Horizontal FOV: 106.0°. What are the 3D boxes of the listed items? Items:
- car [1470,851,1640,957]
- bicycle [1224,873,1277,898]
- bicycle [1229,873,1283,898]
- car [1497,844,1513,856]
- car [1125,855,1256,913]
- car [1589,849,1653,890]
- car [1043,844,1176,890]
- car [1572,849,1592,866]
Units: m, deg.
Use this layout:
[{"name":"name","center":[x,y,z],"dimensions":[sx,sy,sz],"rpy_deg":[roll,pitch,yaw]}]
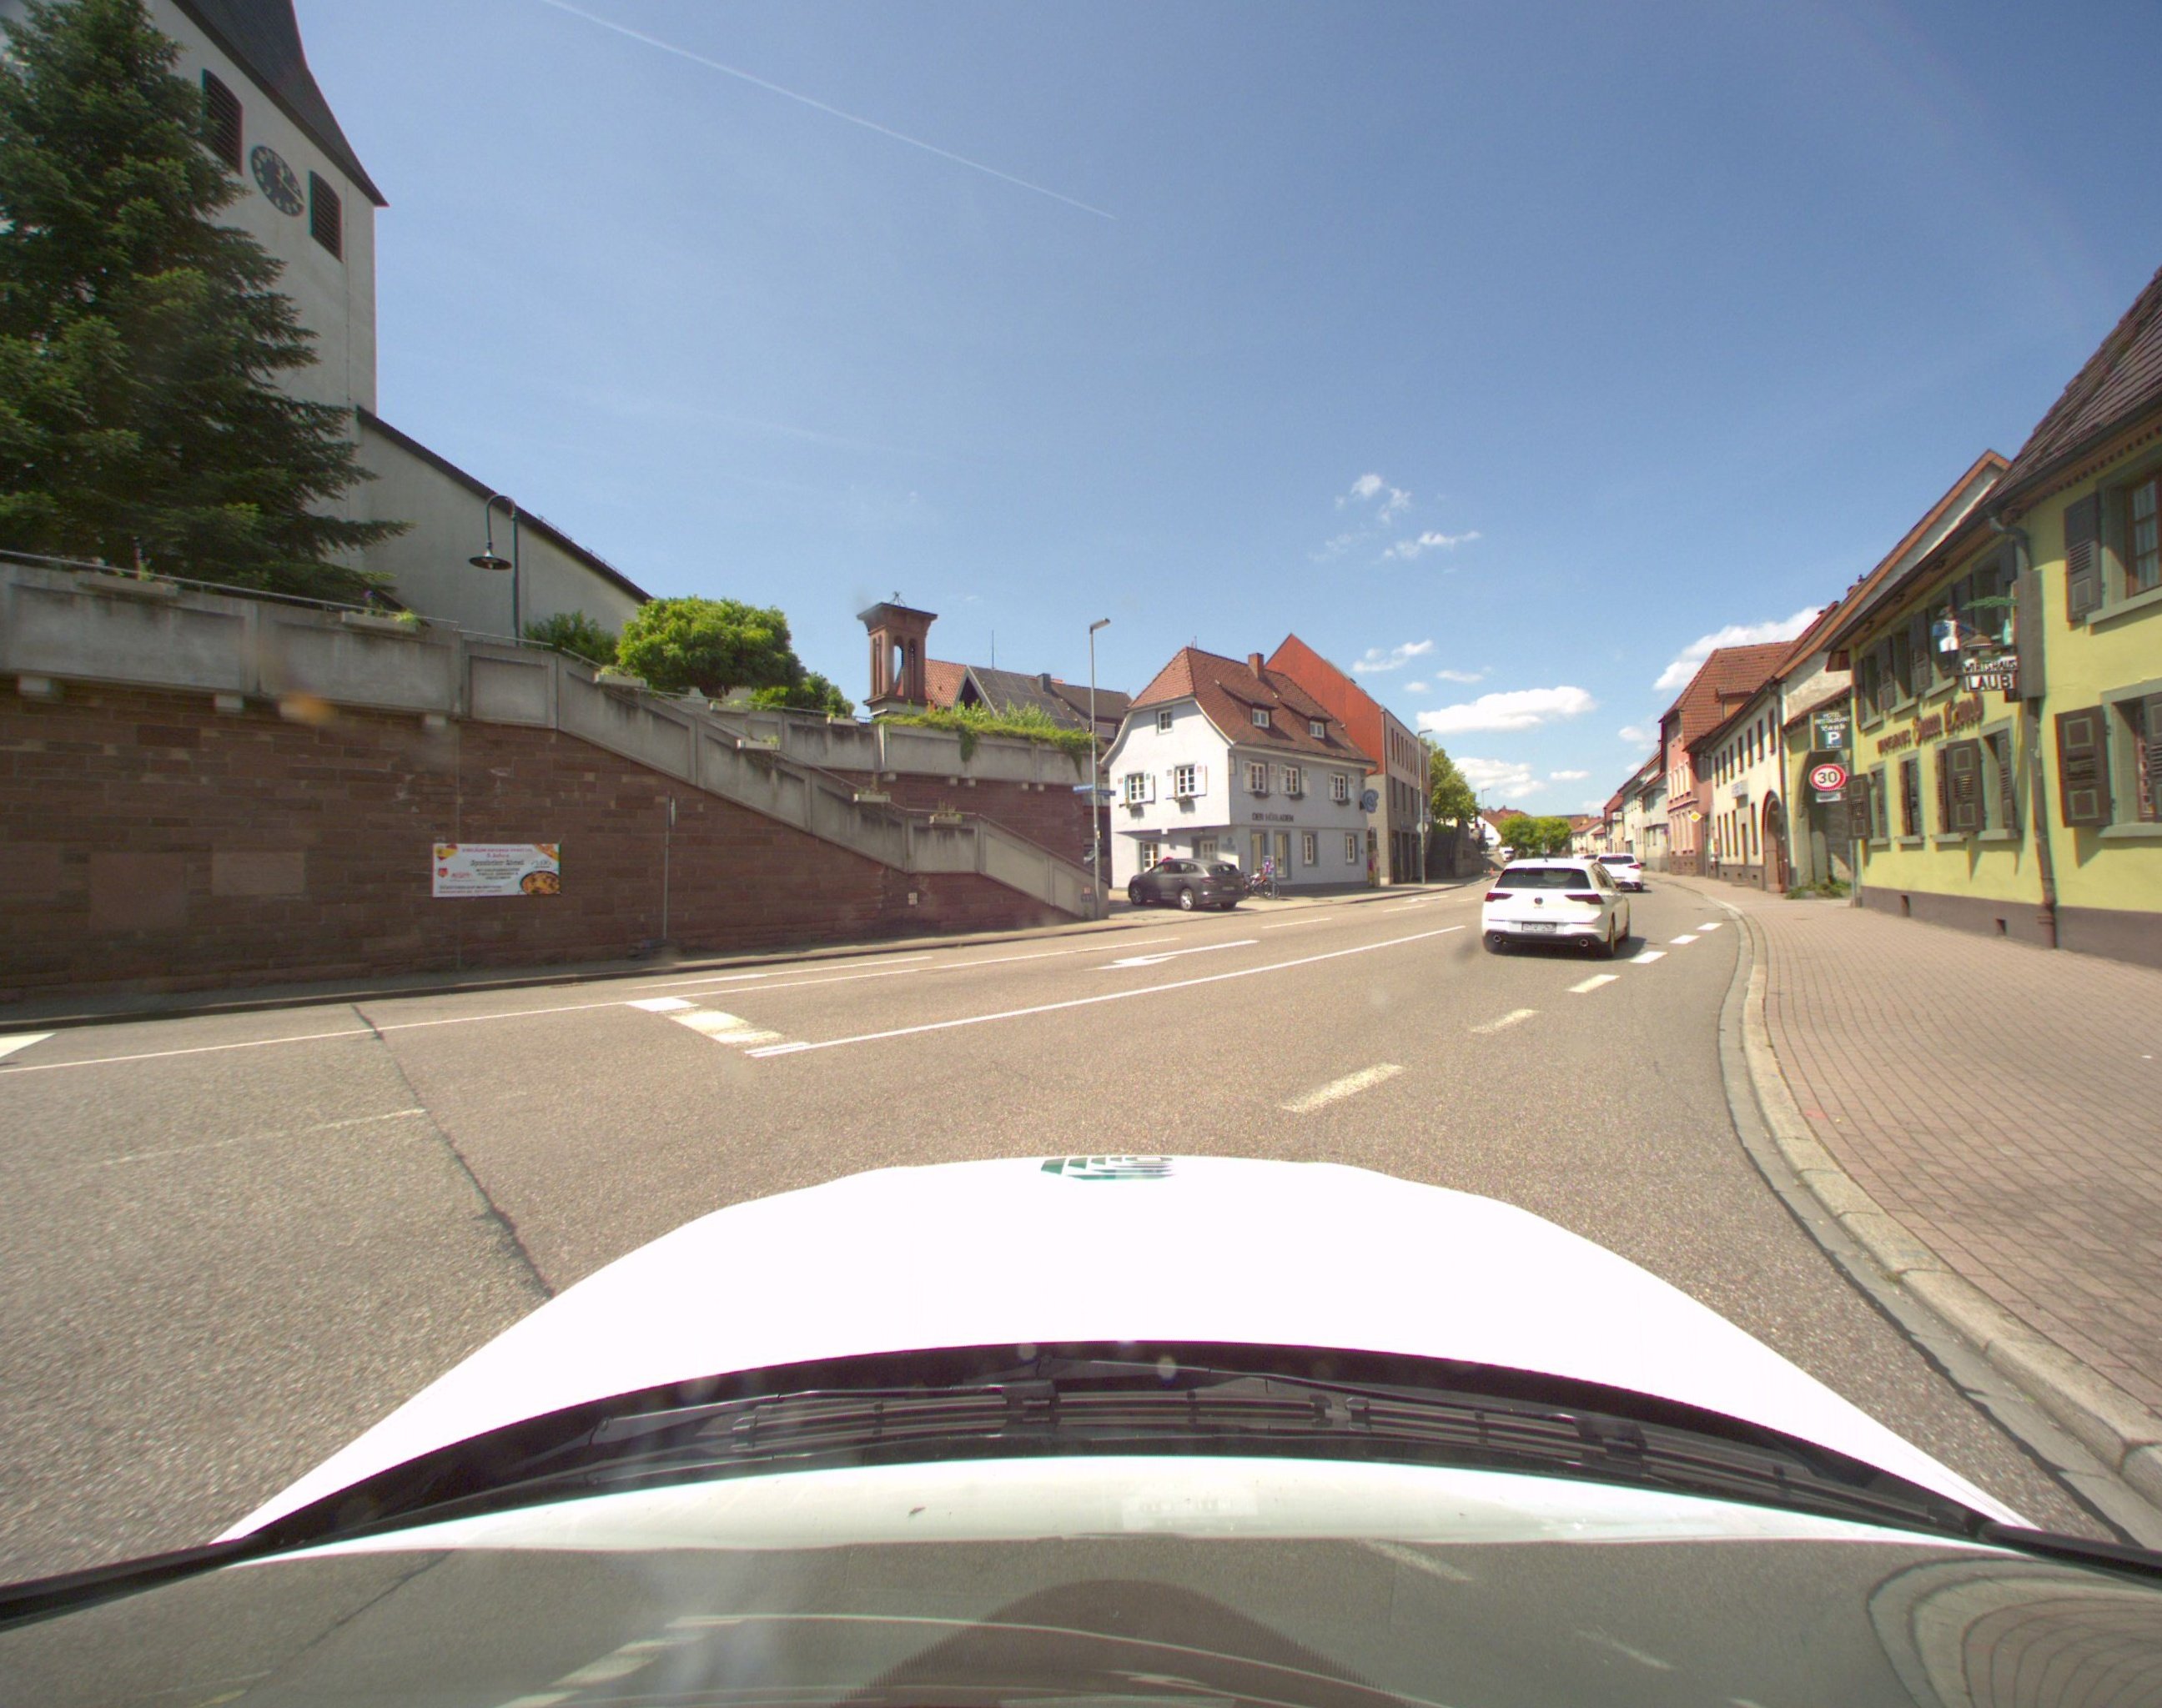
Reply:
[{"name":"car","center":[7.811,0.717,13.254],"dimensions":[1.765,1.458,3.887],"rpy_deg":[-2,-2,39]},{"name":"bicycle","center":[6.247,1.174,30.069],"dimensions":[1.816,0.899,0.647],"rpy_deg":[0,-1,-9]},{"name":"bicycle","center":[6.321,1.136,29.410],"dimensions":[1.816,0.899,0.621],"rpy_deg":[0,-1,-8]},{"name":"car","center":[64.507,-0.570,123.866],"dimensions":[1.975,1.717,4.024],"rpy_deg":[0,-1,29]},{"name":"car","center":[3.469,0.899,26.575],"dimensions":[1.962,1.582,4.283],"rpy_deg":[-2,2,-31]},{"name":"car","center":[20.655,0.585,31.081],"dimensions":[1.765,1.458,3.887],"rpy_deg":[-2,-2,37]},{"name":"car","center":[1.431,0.609,39.099],"dimensions":[6.020,2.014,2.497],"rpy_deg":[-1,-2,-34]},{"name":"car","center":[55.011,0.398,89.432],"dimensions":[1.765,1.840,3.887],"rpy_deg":[-2,-1,30]}]
